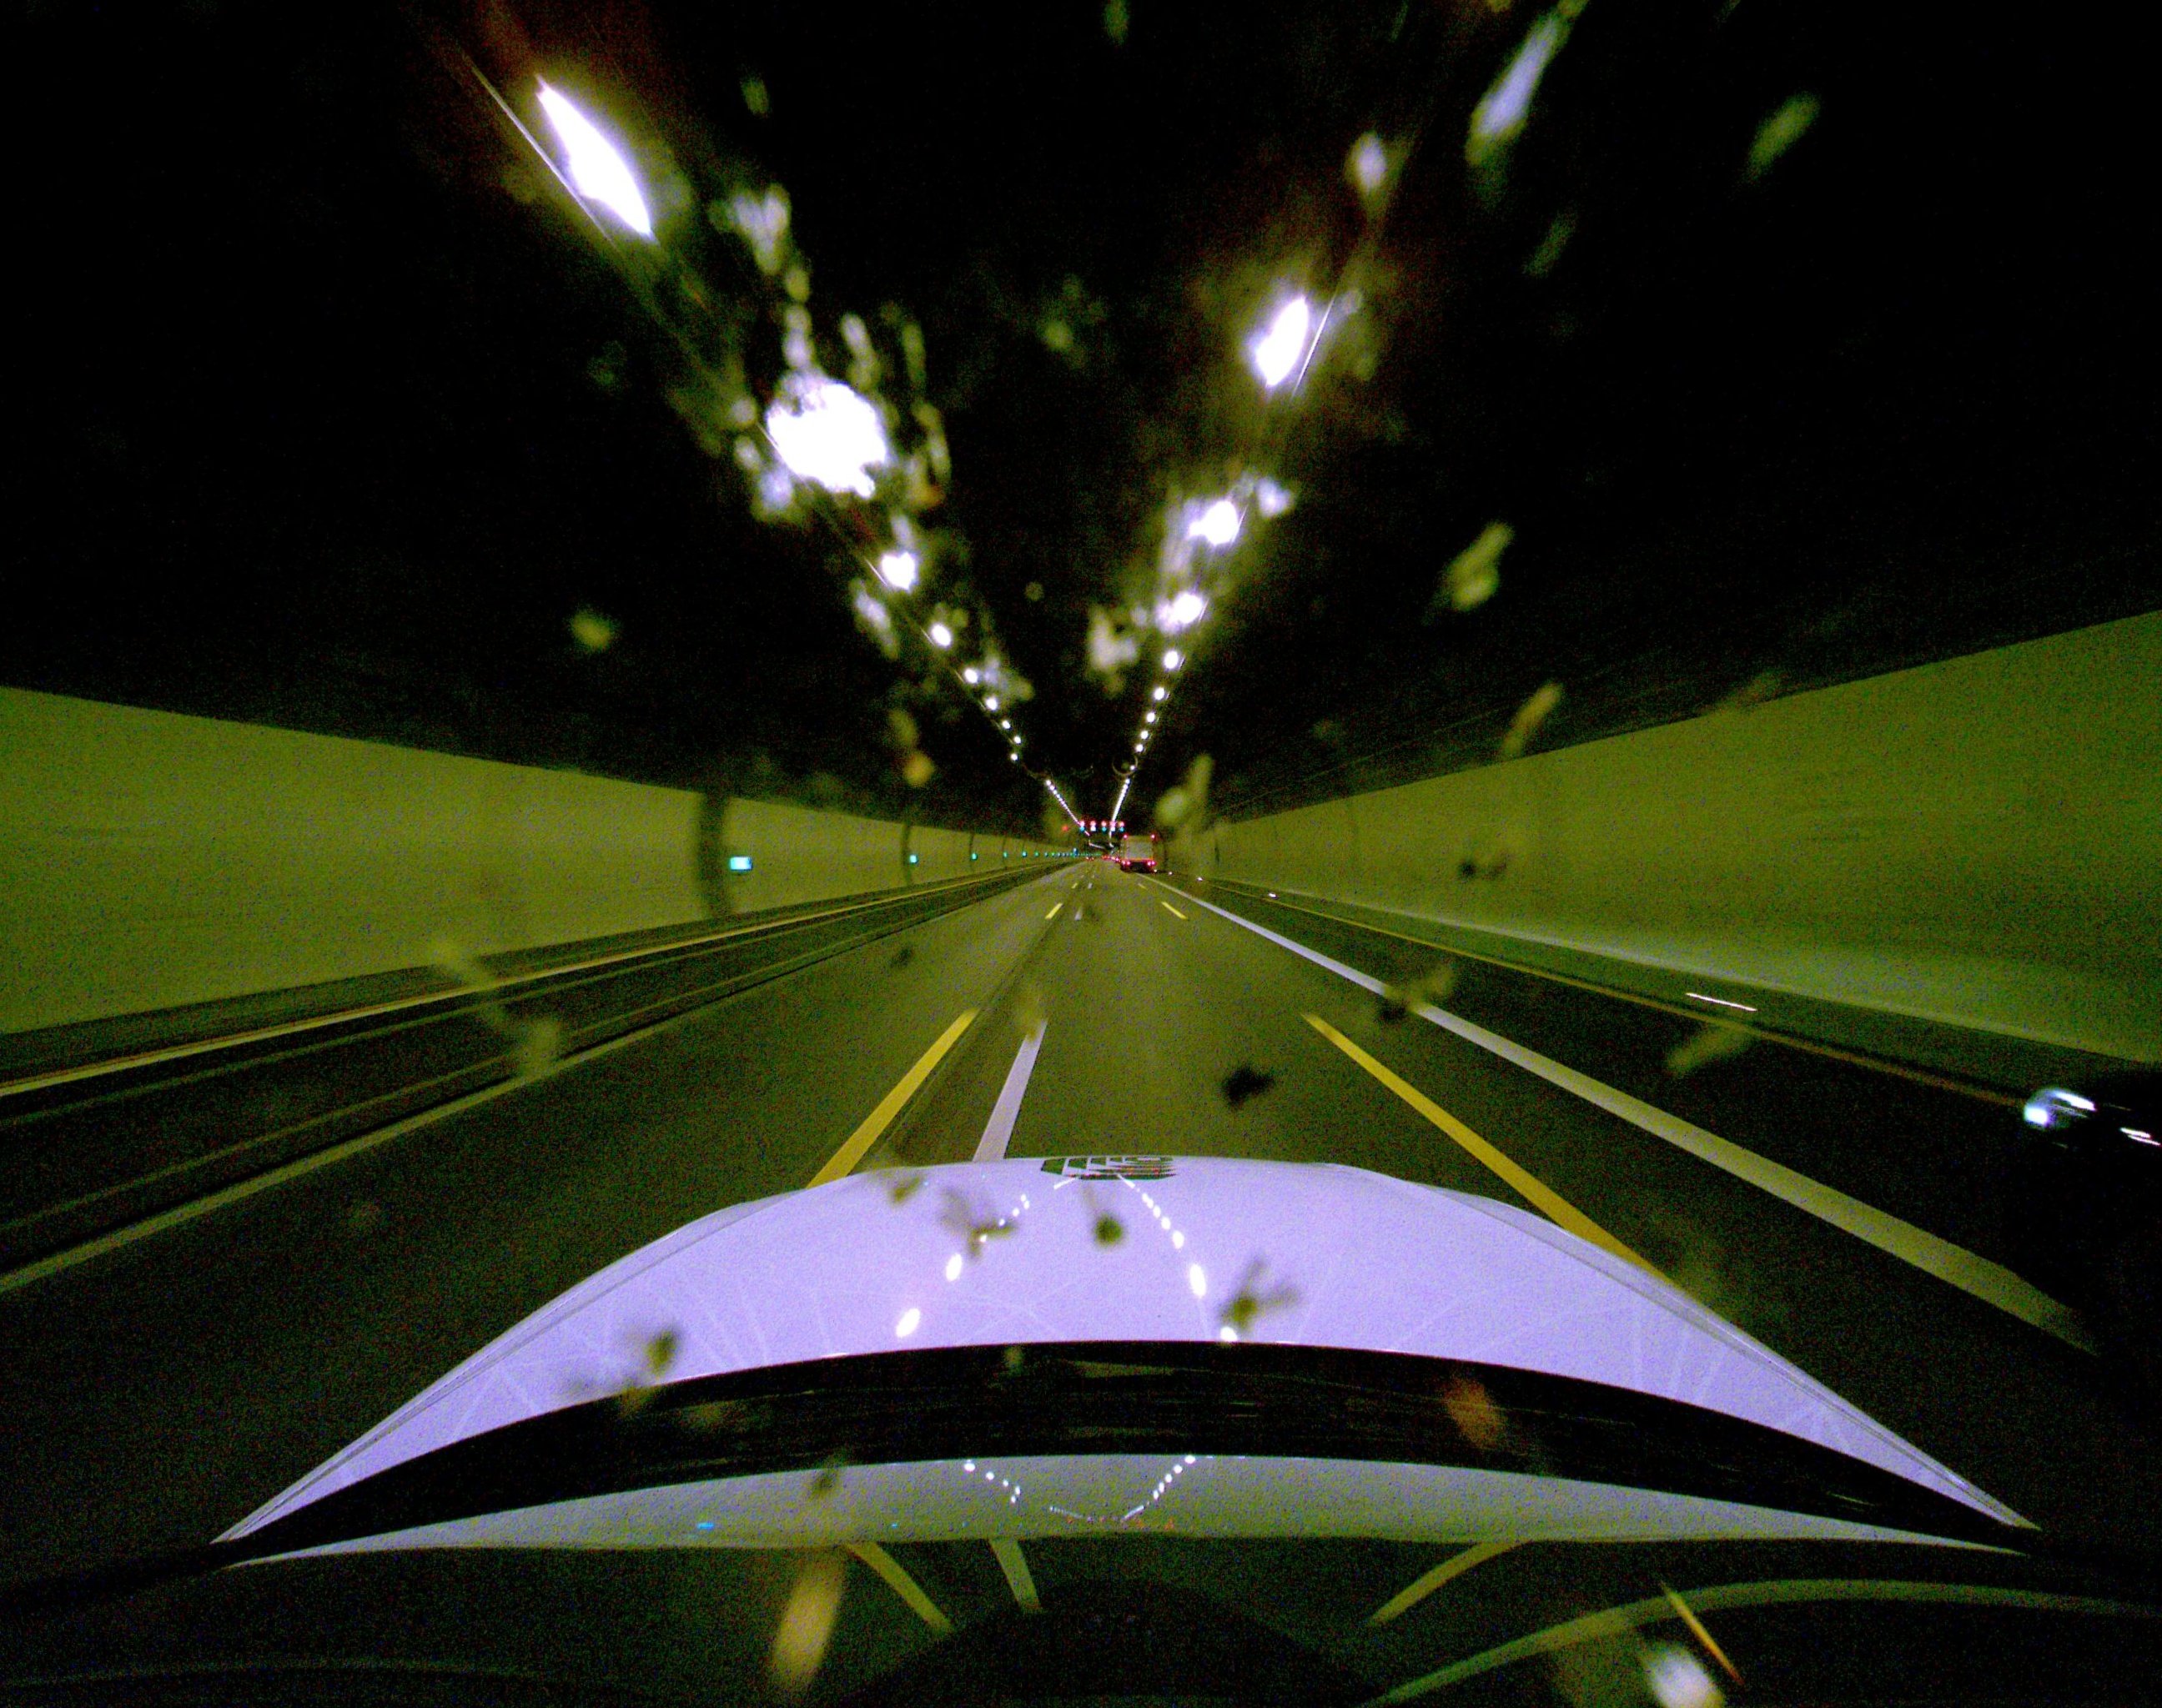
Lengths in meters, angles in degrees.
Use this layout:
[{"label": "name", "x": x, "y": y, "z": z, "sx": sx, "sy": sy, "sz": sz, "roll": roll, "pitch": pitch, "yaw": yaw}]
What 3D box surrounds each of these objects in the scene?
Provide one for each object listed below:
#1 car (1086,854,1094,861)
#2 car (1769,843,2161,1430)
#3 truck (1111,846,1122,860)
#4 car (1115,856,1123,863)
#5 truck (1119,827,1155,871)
[{"label": "car", "x": 2.190, "y": 0.813, "z": 193.745, "sx": 1.752, "sy": 1.461, "sz": 4.121, "roll": 0, "pitch": 0, "yaw": 2}, {"label": "car", "x": 3.630, "y": 0.710, "z": 0.771, "sx": 1.918, "sy": 1.472, "sz": 4.956, "roll": 0, "pitch": 0, "yaw": 2}, {"label": "truck", "x": 10.485, "y": -0.344, "z": 239.335, "sx": 3.053, "sy": 3.918, "sz": 10.375, "roll": 1, "pitch": -1, "yaw": 3}, {"label": "car", "x": 7.875, "y": 1.088, "z": 168.091, "sx": 1.732, "sy": 1.461, "sz": 3.964, "roll": 0, "pitch": 0, "yaw": 3}, {"label": "truck", "x": 5.360, "y": -0.378, "z": 79.308, "sx": 3.080, "sy": 3.918, "sz": 10.372, "roll": 1, "pitch": -1, "yaw": 2}]
